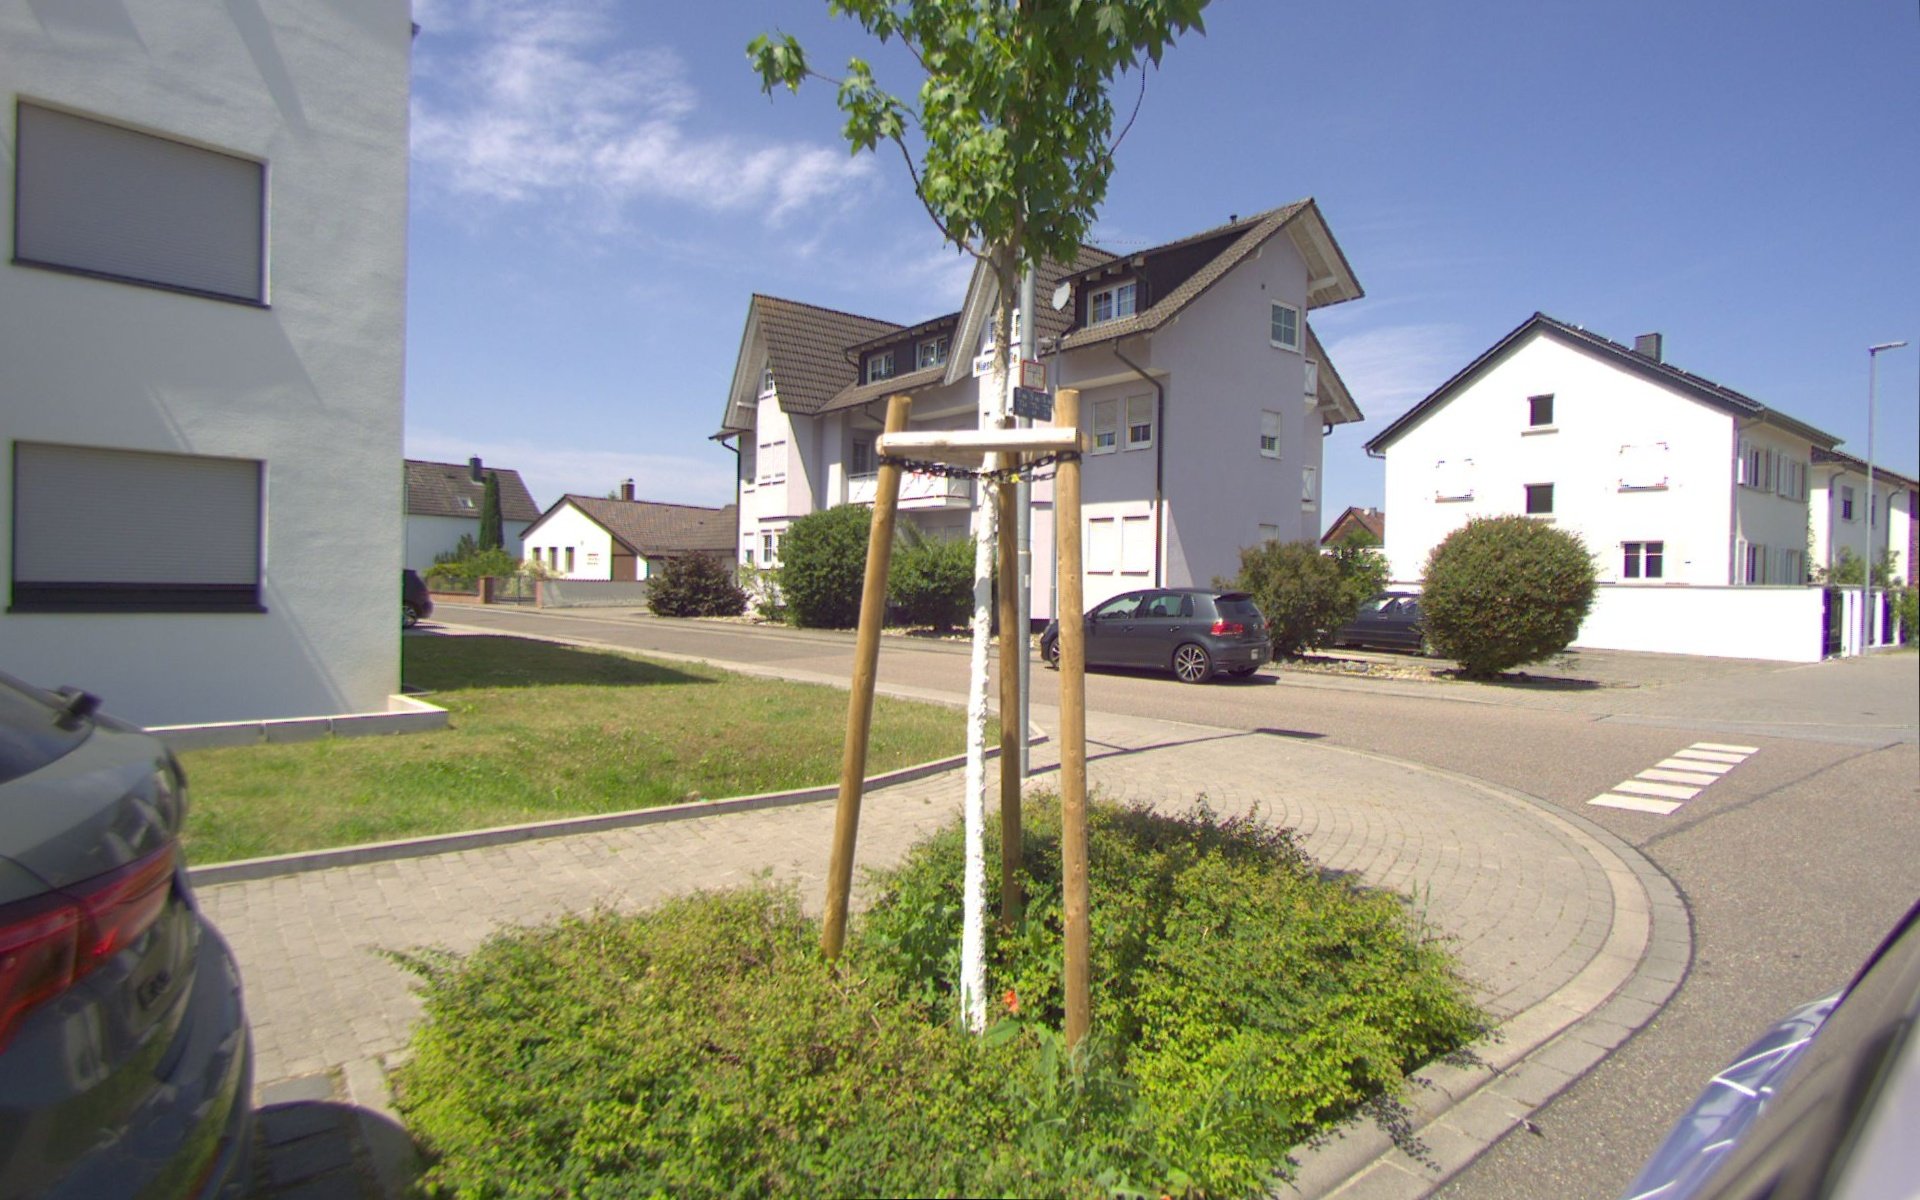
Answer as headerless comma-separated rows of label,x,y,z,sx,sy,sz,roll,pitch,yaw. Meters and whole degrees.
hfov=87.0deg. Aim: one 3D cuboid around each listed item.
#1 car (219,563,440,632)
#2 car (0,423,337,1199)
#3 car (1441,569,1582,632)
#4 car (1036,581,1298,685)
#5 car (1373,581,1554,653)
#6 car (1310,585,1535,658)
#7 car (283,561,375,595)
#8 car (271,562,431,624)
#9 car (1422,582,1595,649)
car,-14.150,-0.077,22.848,1.751,1.430,3.942,2,1,45
car,-2.940,0.598,0.551,4.204,1.615,1.776,0,1,-41
car,16.925,-0.025,31.138,1.739,1.835,3.394,1,1,-39
car,3.366,0.461,16.945,3.993,1.486,1.728,2,1,44
car,11.802,0.345,23.849,1.635,1.513,3.450,1,1,-41
car,10.054,0.397,22.253,1.635,1.391,4.208,0,1,-41
car,-36.636,-1.278,58.772,4.388,1.900,1.993,1,1,12
car,-15.148,-0.183,25.251,1.458,1.459,3.167,2,1,43
car,13.755,0.333,25.509,1.637,1.515,3.503,0,1,-44
